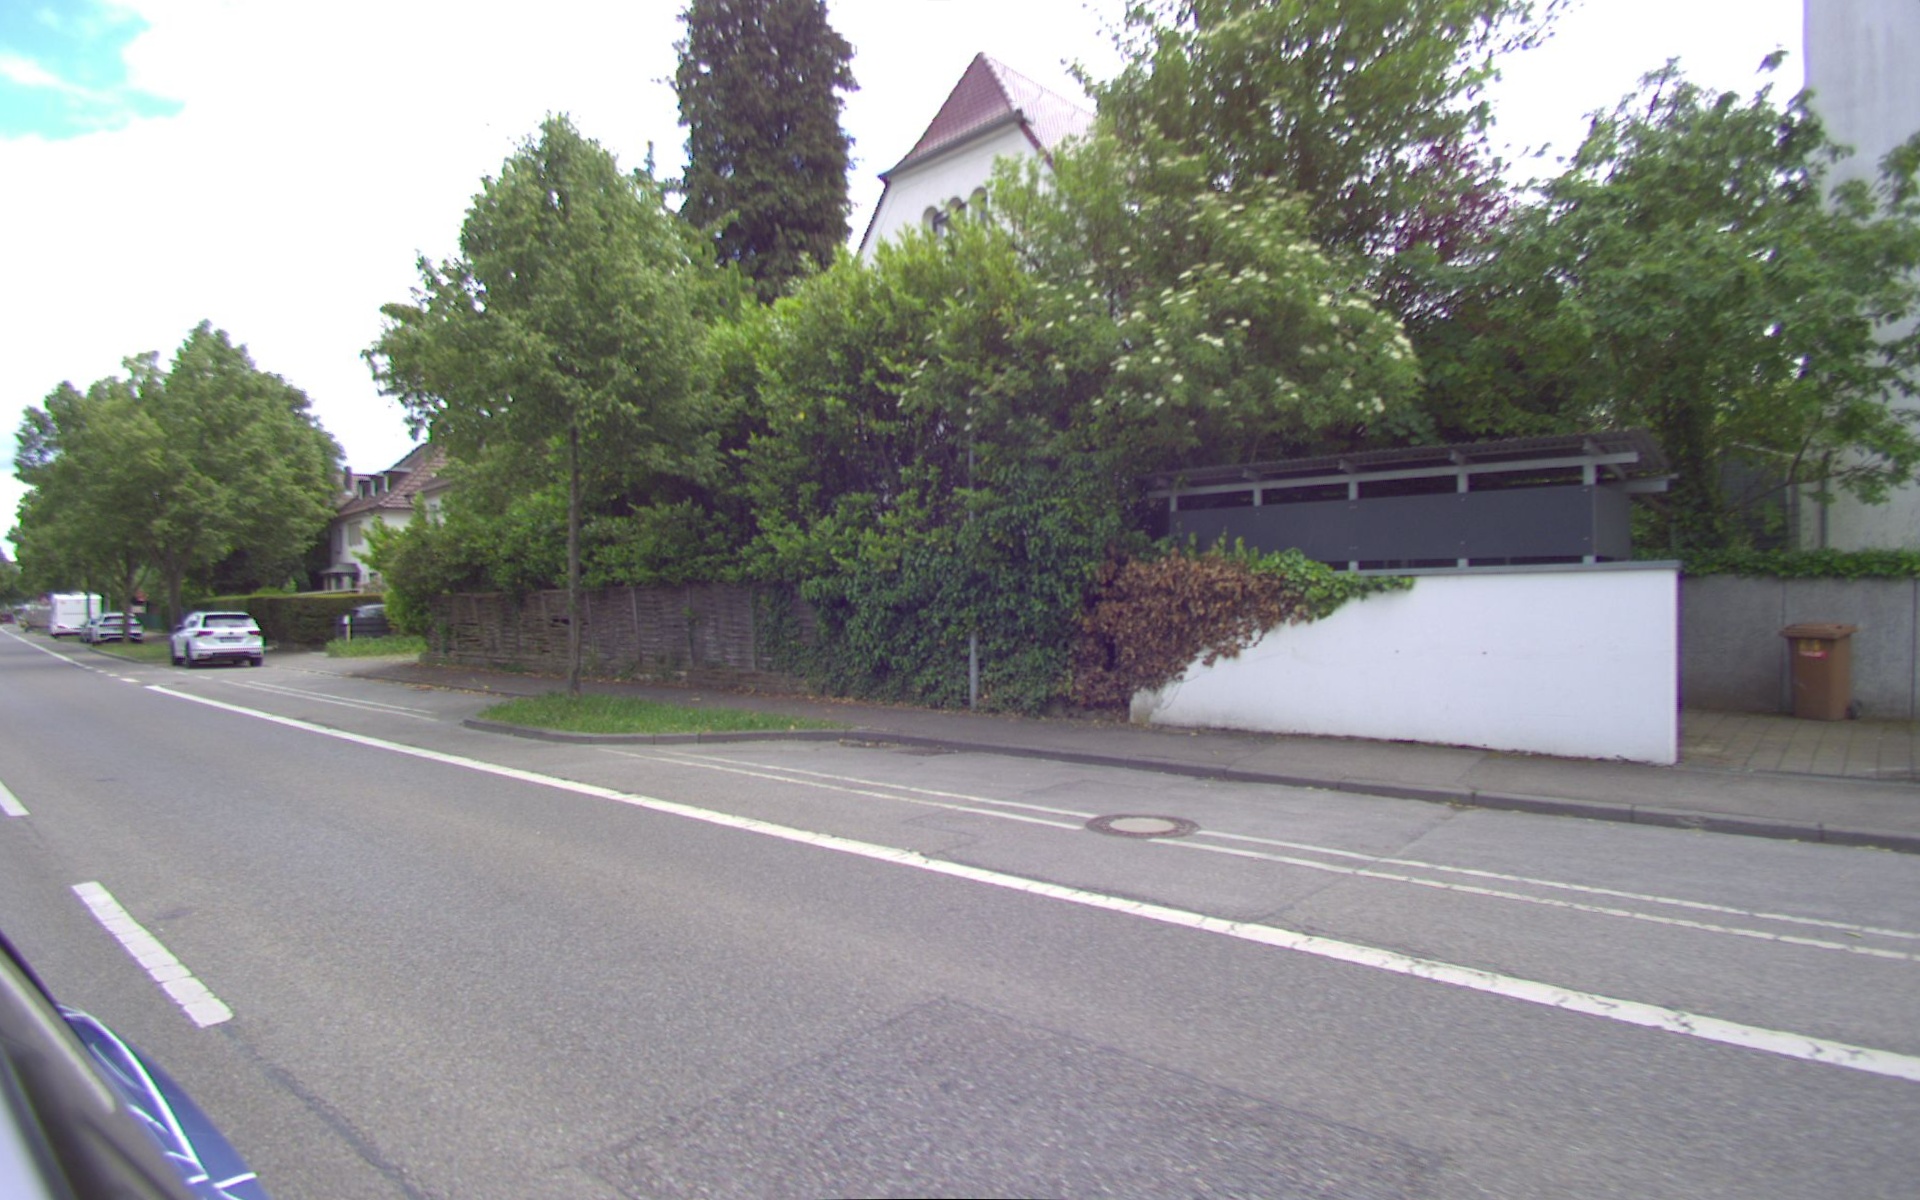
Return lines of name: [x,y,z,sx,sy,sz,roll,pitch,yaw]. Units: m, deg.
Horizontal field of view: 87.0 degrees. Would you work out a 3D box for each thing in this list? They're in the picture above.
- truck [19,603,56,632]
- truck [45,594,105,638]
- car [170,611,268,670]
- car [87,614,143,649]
truck: [-85.426,1.589,93.737,4.496,2.564,1.973,-1,0,40]
truck: [-60.039,1.069,68.633,6.259,2.794,2.605,-1,0,44]
car: [-22.706,1.200,30.946,1.890,1.665,4.003,0,-1,-44]
car: [-42.020,1.545,50.315,1.863,1.628,4.003,0,-1,-44]
